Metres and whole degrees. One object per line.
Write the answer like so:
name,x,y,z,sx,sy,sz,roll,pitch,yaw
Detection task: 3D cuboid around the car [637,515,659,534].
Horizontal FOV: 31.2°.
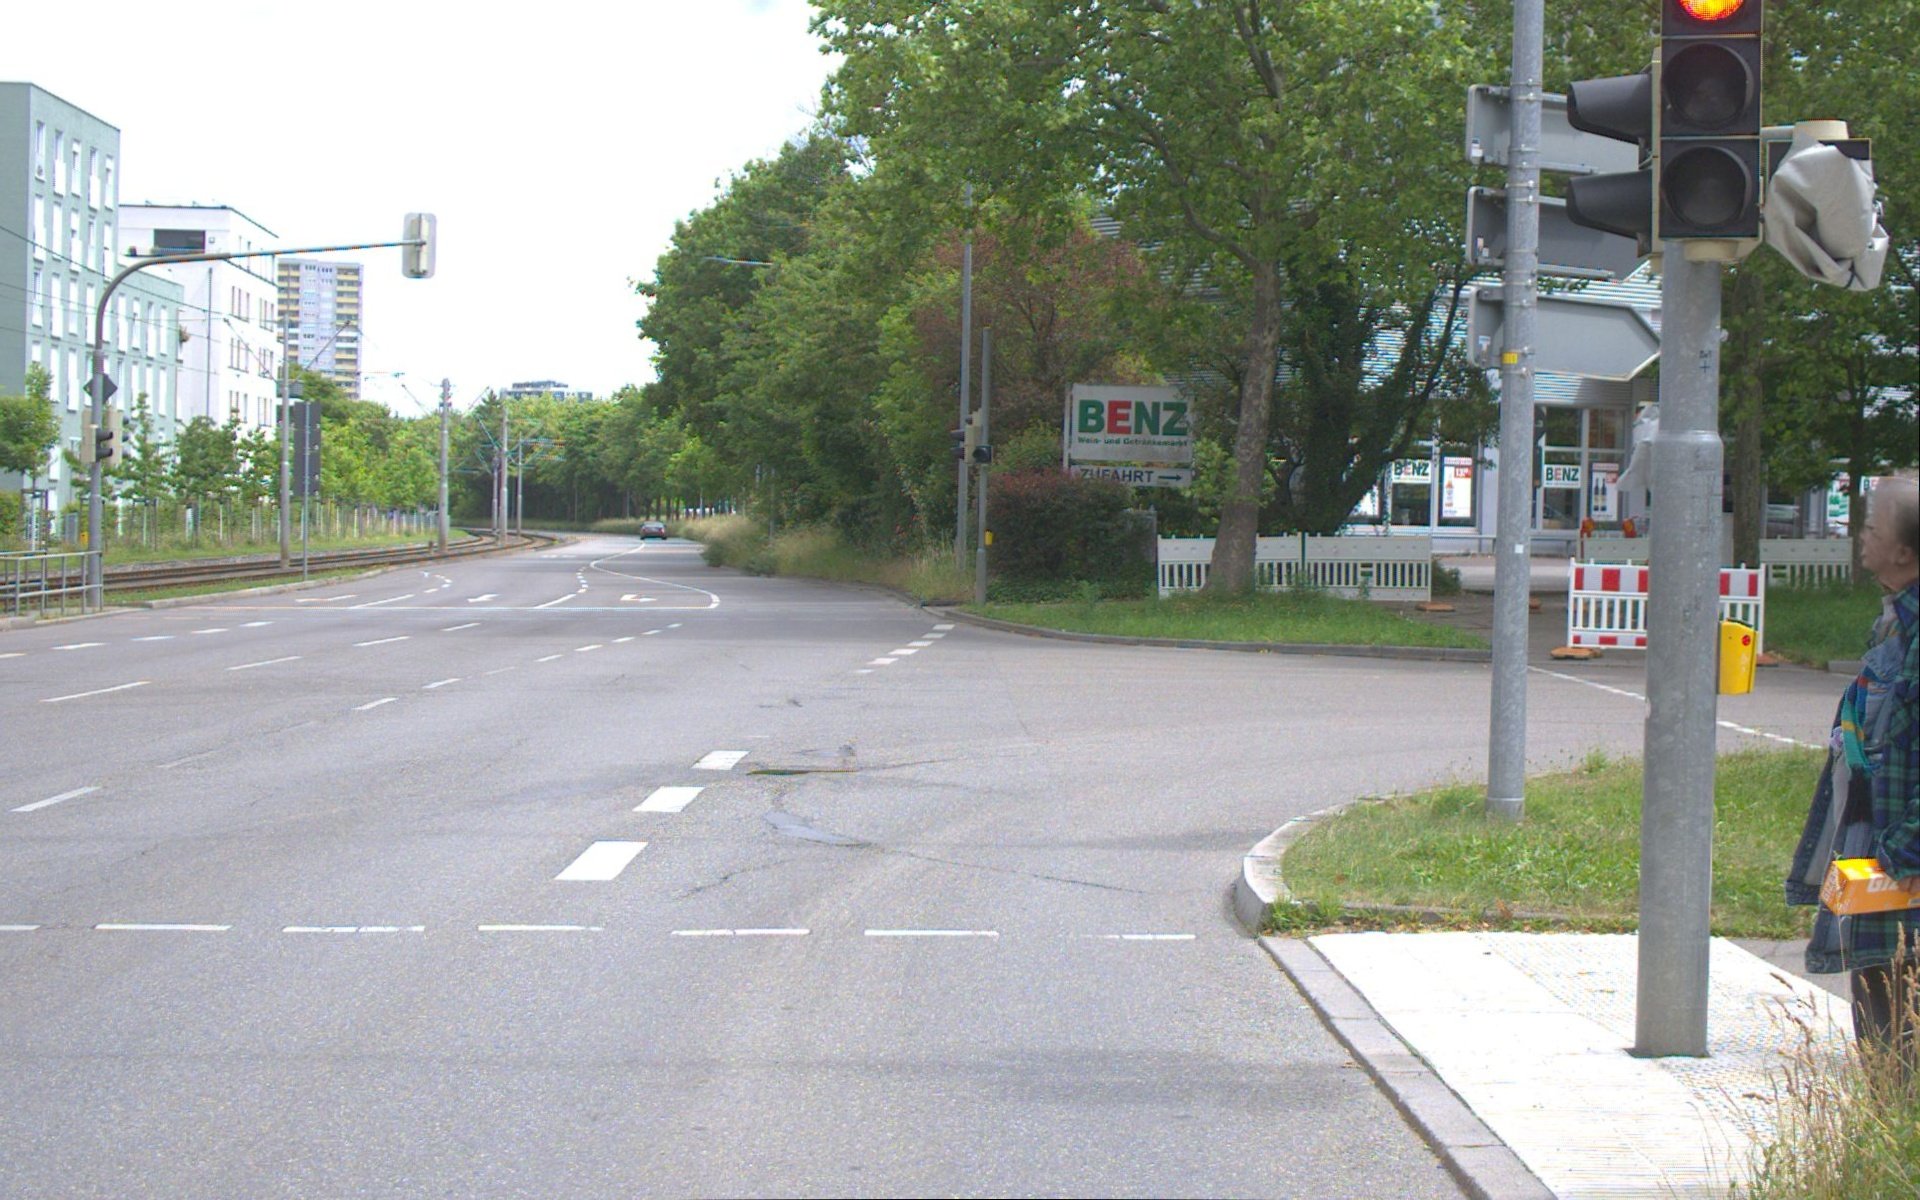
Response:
car,-23.293,-5.611,256.783,1.594,1.349,4.001,1,1,-5

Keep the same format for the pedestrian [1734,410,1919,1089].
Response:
pedestrian,2.802,0.385,9.318,1.012,1.768,0.946,2,2,44

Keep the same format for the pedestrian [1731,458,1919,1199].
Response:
pedestrian,2.034,0.548,7.117,0.823,1.665,0.733,1,1,14

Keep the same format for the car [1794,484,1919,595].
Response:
car,17.733,-1.130,64.056,1.993,2.007,4.000,0,1,-32
